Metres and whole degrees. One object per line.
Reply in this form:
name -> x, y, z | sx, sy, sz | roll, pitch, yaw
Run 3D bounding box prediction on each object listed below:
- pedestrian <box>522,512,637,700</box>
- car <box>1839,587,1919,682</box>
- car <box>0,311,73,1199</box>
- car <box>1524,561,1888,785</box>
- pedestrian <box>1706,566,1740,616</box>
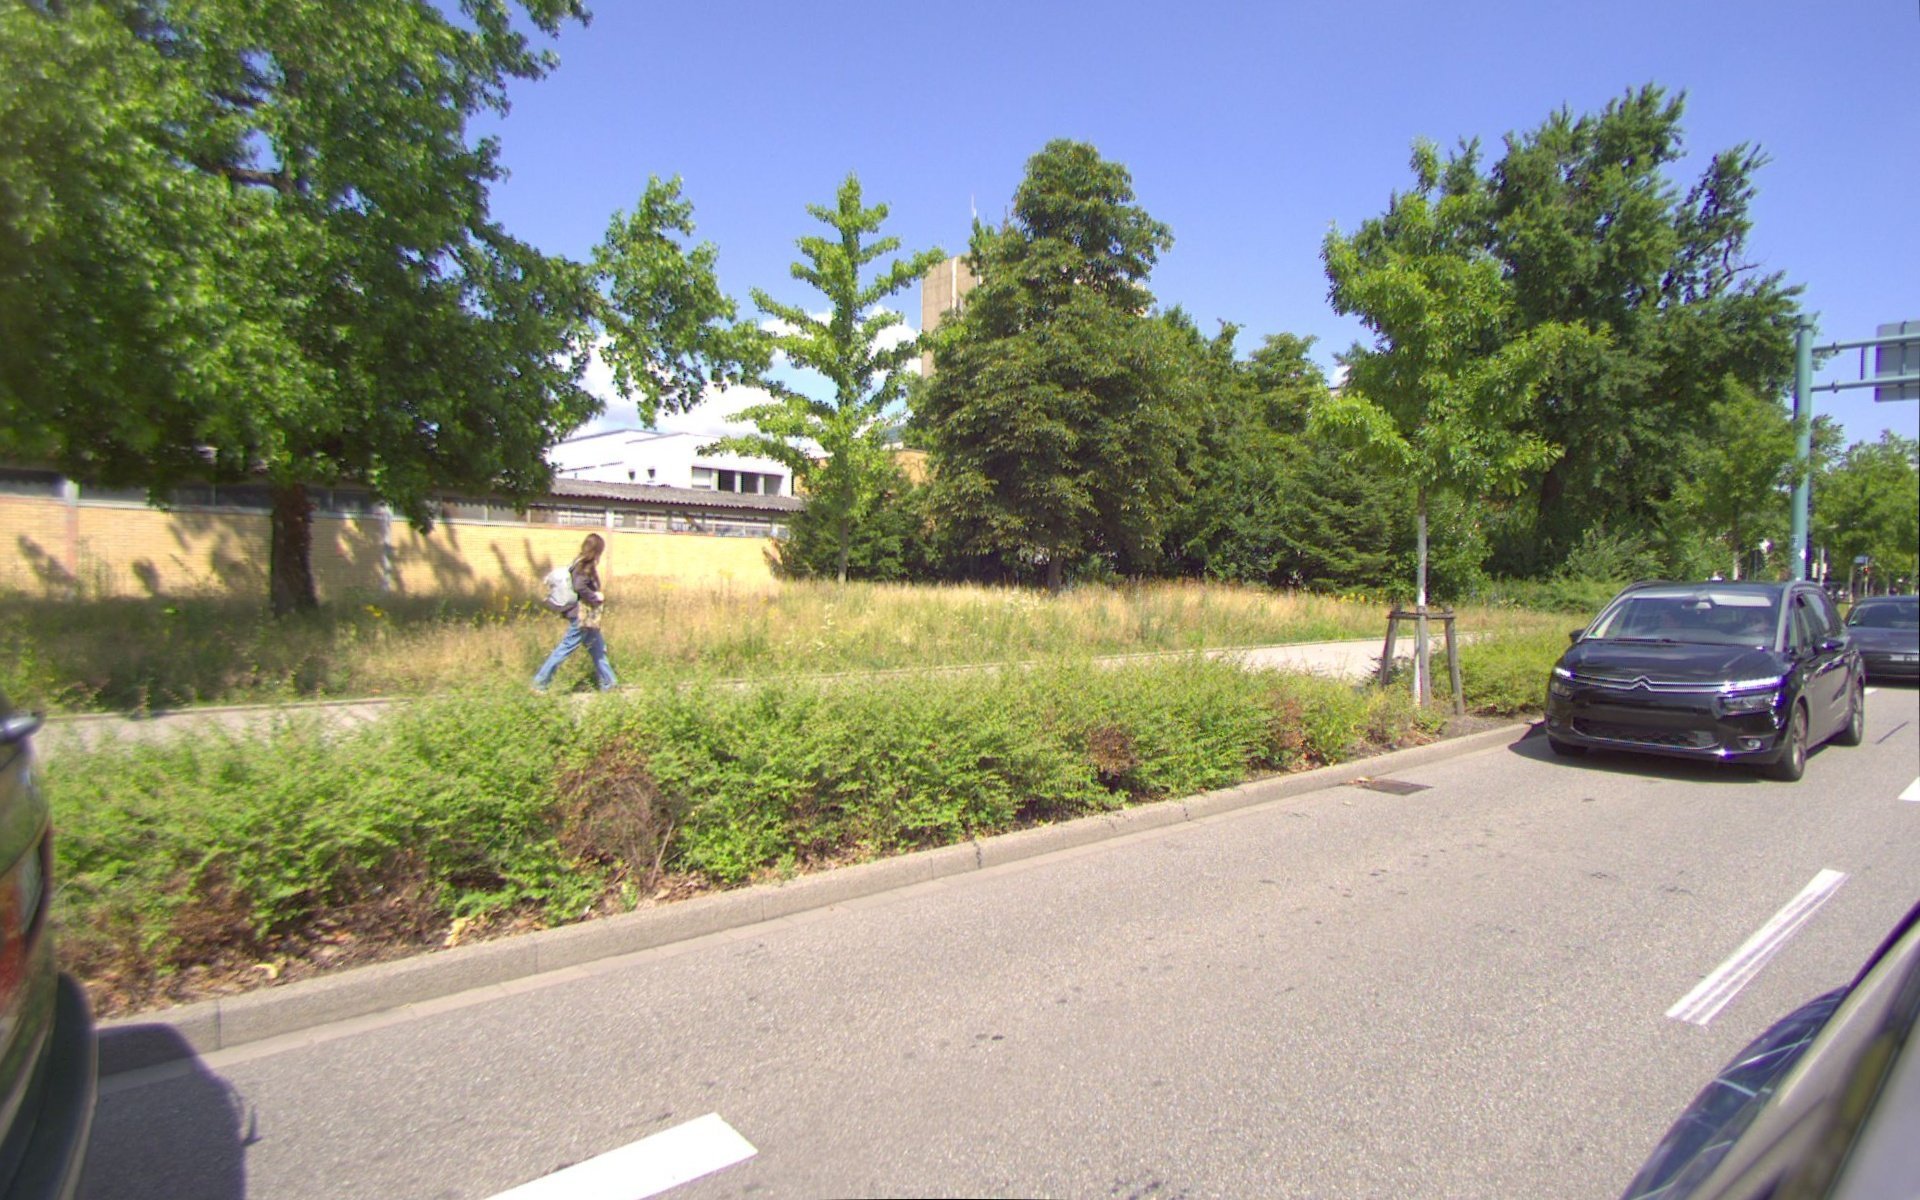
pedestrian -> -3.782, 0.039, 10.064 | 0.863, 1.771, 0.667 | 0, 3, -41
car -> 16.160, 0.526, 17.019 | 4.292, 1.435, 1.762 | 0, 1, -45
car -> -3.349, 0.544, 0.459 | 4.369, 1.745, 1.797 | 0, -1, -40
car -> 7.216, 0.538, 9.604 | 4.441, 1.643, 1.861 | 0, 0, -41
pedestrian -> 27.993, -0.342, 37.135 | 0.827, 1.787, 0.843 | -1, 1, -41
